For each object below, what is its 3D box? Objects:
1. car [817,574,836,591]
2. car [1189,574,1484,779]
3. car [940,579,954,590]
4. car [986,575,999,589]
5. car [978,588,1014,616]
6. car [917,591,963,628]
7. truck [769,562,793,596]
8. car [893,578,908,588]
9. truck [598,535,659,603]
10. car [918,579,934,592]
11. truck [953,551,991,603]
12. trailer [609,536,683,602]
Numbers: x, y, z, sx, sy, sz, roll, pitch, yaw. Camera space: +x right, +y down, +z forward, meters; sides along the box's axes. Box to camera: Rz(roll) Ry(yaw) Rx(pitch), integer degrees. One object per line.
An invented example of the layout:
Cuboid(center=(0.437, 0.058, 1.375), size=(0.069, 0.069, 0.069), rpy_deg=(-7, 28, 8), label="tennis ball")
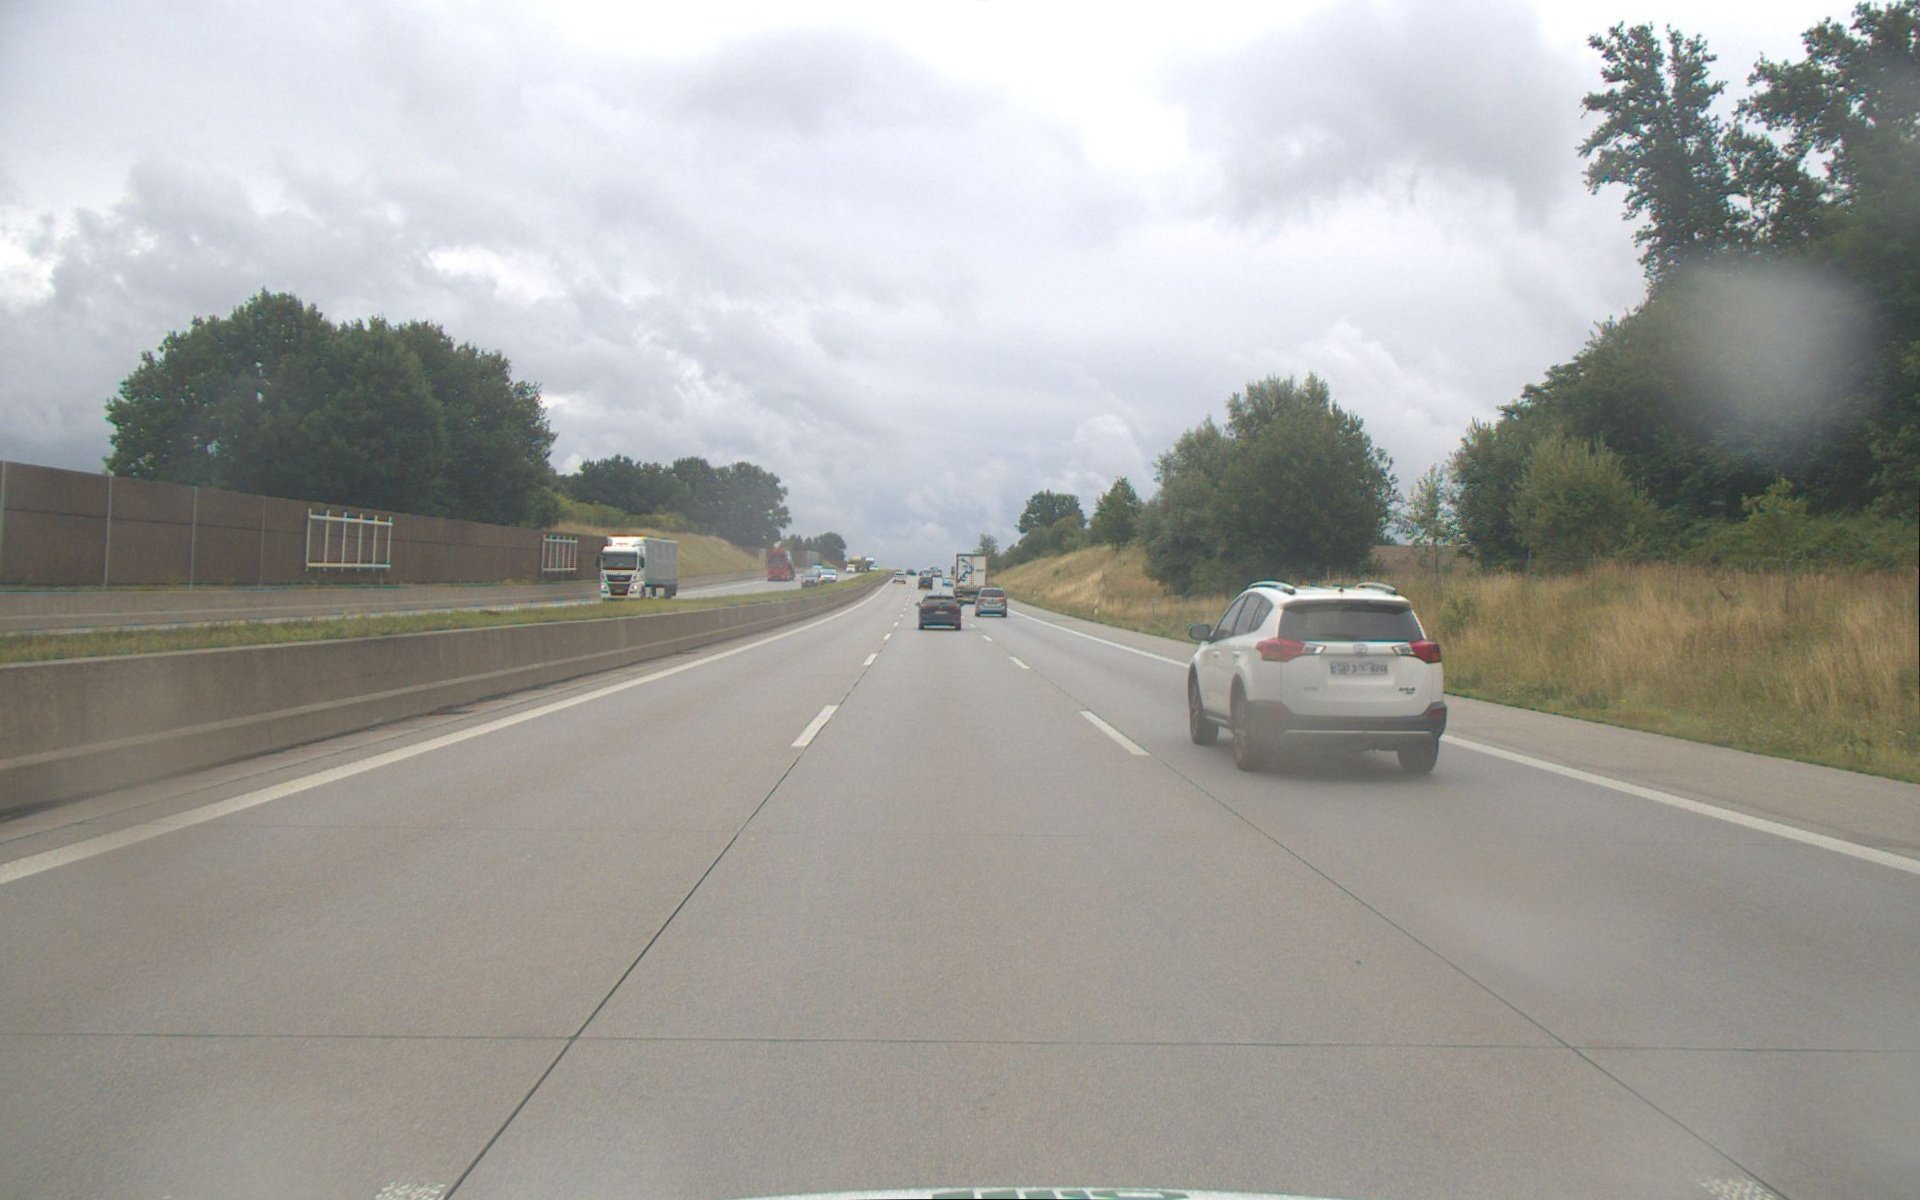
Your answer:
Cuboid(center=(-15.877, -2.111, 196.826), size=(1.953, 1.919, 5.511), rpy_deg=(1, 1, -2), label="car")
Cuboid(center=(3.445, 0.644, 15.894), size=(1.789, 1.684, 3.983), rpy_deg=(1, 0, -2), label="car")
Cuboid(center=(-1.981, -2.287, 246.232), size=(1.952, 1.668, 4.000), rpy_deg=(1, 0, 1), label="car")
Cuboid(center=(4.752, -2.613, 242.417), size=(1.952, 2.049, 4.000), rpy_deg=(1, 0, 1), label="car")
Cuboid(center=(2.058, 0.126, 95.111), size=(1.952, 1.557, 4.000), rpy_deg=(1, 0, 1), label="car")
Cuboid(center=(-0.832, 0.393, 67.043), size=(1.717, 1.422, 4.482), rpy_deg=(1, 0, -2), label="car")
Cuboid(center=(-23.455, -2.698, 217.003), size=(2.500, 4.326, 7.462), rpy_deg=(1, 0, -2), label="truck")
Cuboid(center=(-8.540, -2.493, 237.851), size=(1.908, 1.379, 4.259), rpy_deg=(1, 1, 0), label="car")
Cuboid(center=(-20.972, -1.911, 104.906), size=(2.628, 4.155, 6.215), rpy_deg=(1, 0, -1), label="truck")
Cuboid(center=(-4.351, -1.825, 210.104), size=(1.895, 1.399, 4.594), rpy_deg=(2, -1, 0), label="car")
Cuboid(center=(0.963, -1.901, 139.846), size=(2.956, 4.253, 8.352), rpy_deg=(1, 0, -1), label="truck")
Cuboid(center=(-21.172, -2.014, 112.364), size=(2.642, 4.167, 14.001), rpy_deg=(1, 0, -2), label="trailer")
